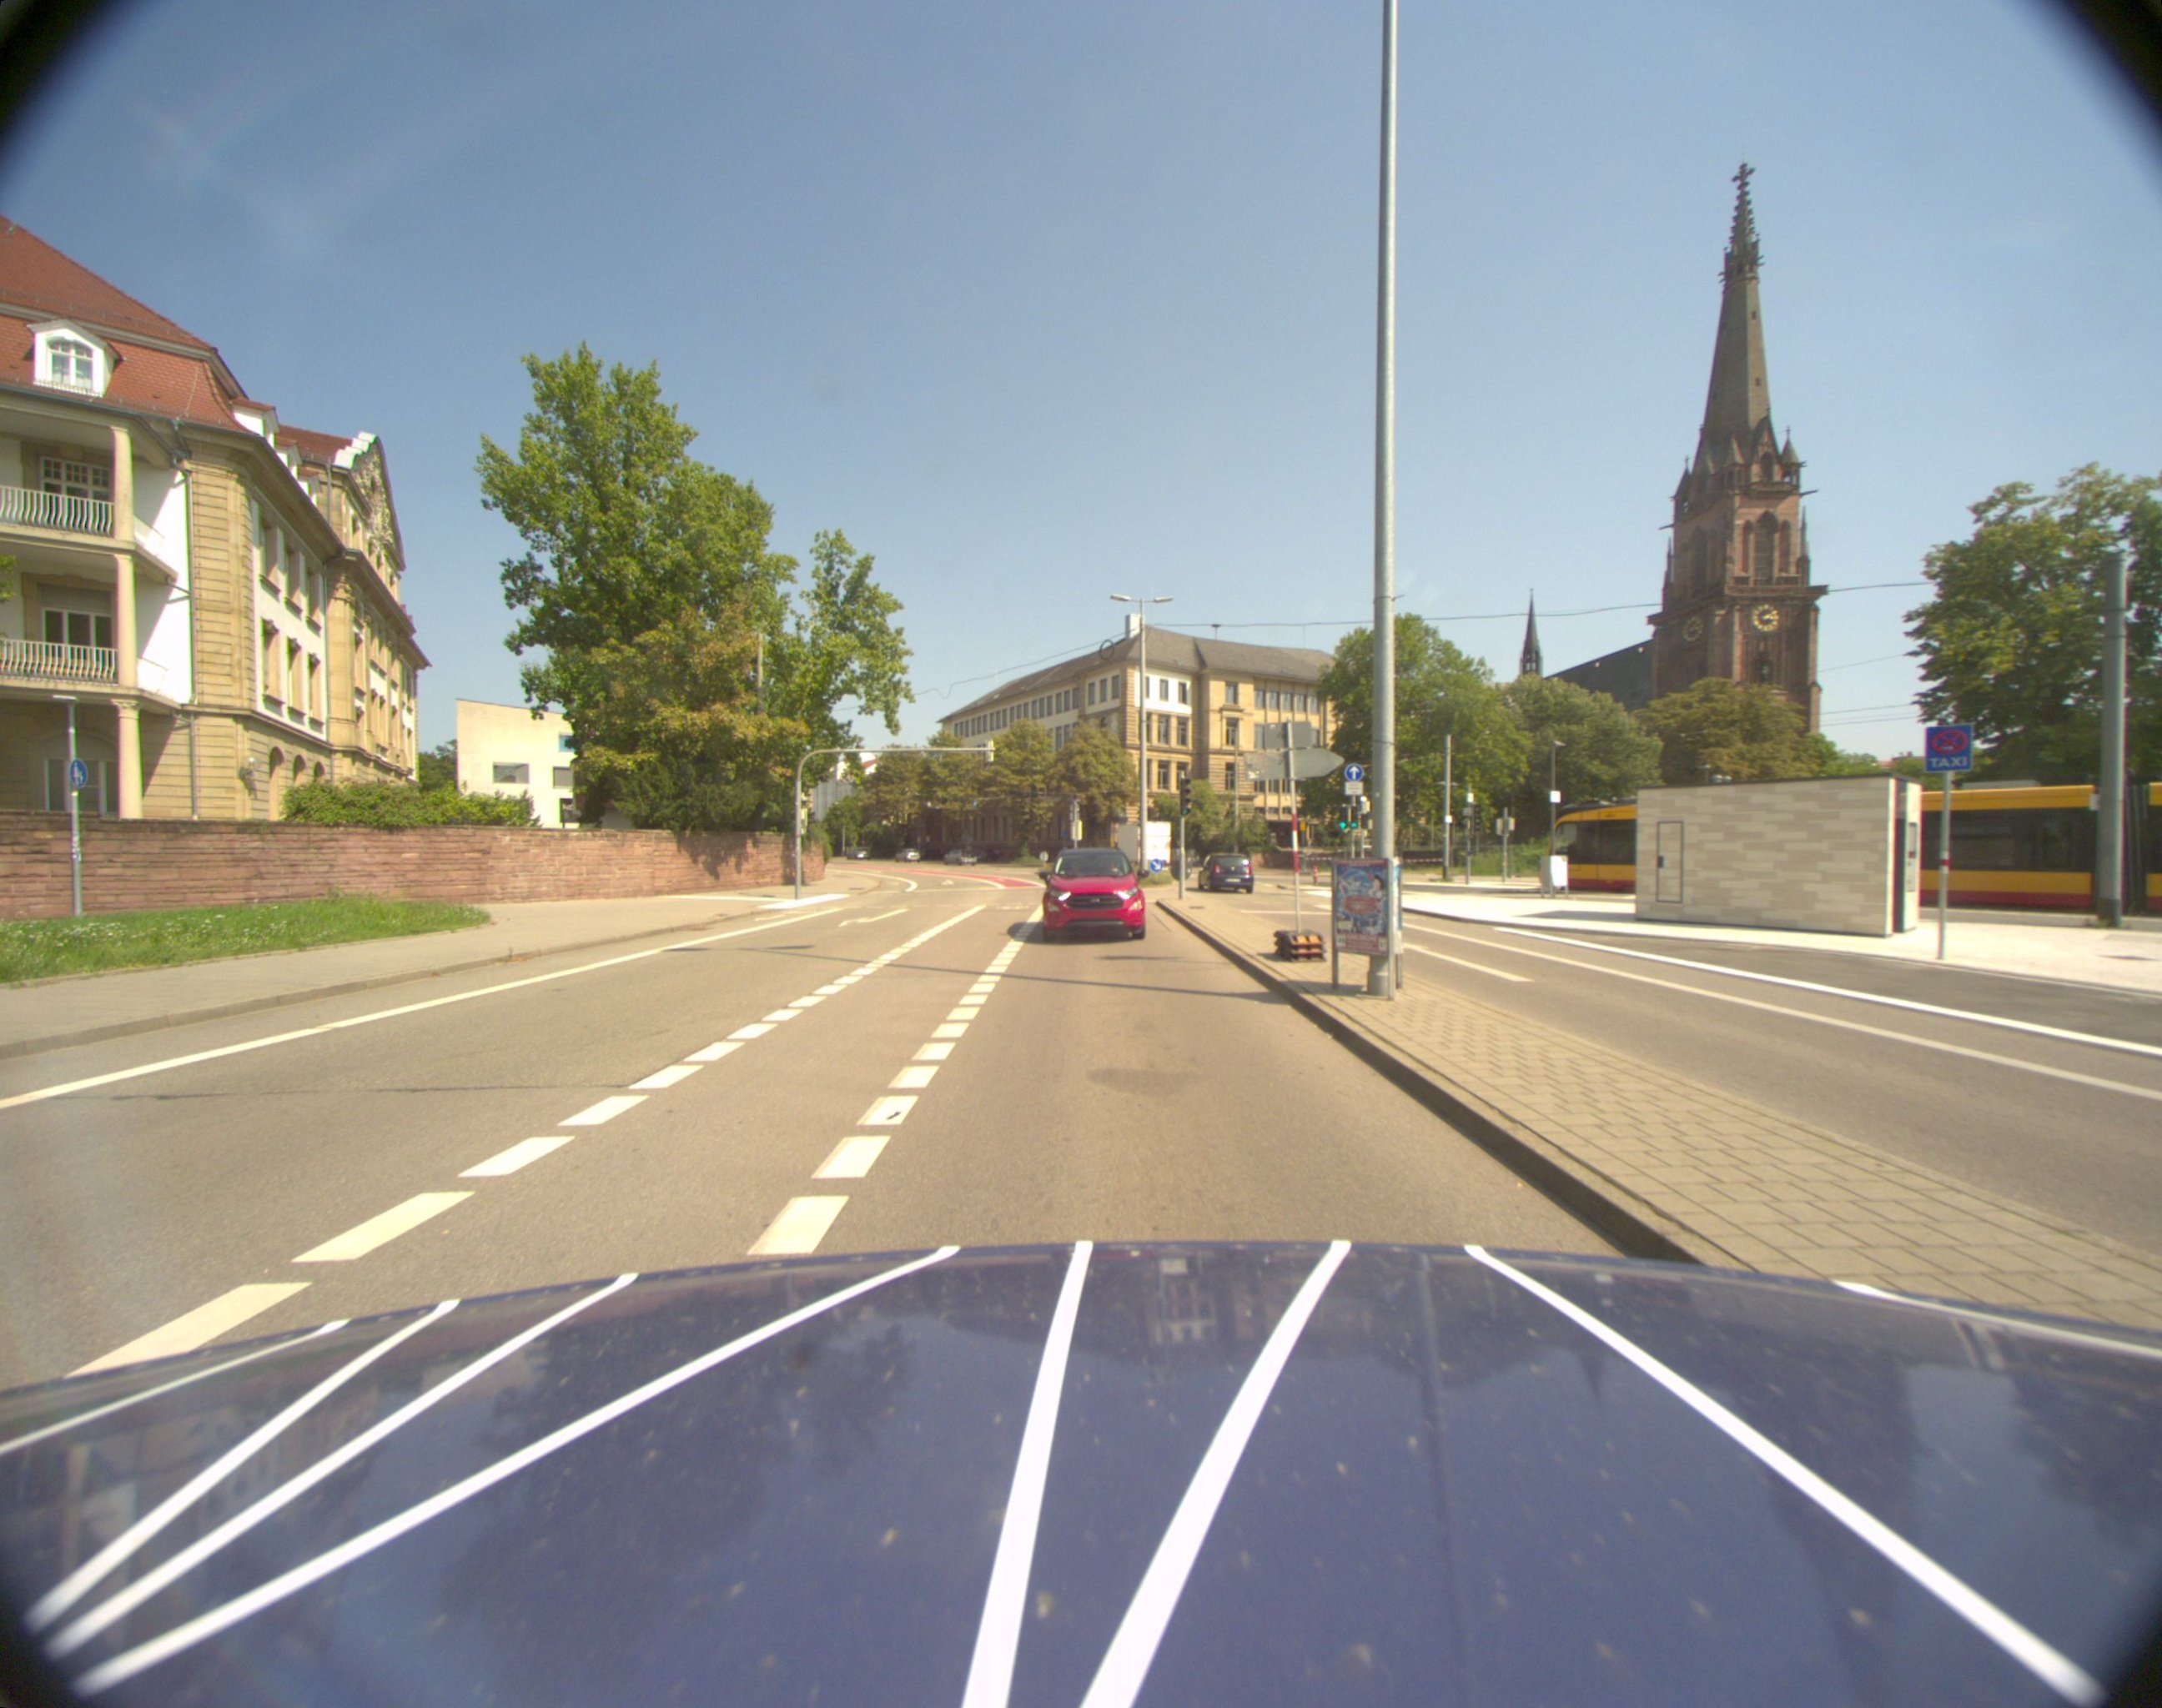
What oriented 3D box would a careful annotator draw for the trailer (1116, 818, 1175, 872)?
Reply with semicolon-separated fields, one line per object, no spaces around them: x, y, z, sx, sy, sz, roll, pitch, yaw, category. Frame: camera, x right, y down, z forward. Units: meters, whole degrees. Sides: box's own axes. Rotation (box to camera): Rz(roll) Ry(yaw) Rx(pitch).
4.035;-0.589;48.422;2.443;3.269;5.082;0;1;-11;trailer

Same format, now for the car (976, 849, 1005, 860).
-10.163;0.010;85.680;3.064;1.169;1.248;0;1;-39;car

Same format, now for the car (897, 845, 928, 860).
-18.630;-0.174;83.857;2.004;1.660;3.989;0;1;-33;car

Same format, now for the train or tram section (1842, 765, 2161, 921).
25.495;-0.243;19.124;3.168;3.576;8.503;0;0;-35;train or tram section

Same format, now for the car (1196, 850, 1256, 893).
5.430;0.622;28.840;1.584;1.489;3.585;2;1;1;car

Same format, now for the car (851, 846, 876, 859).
-27.961;-0.173;97.800;2.004;1.630;3.989;0;1;-33;car

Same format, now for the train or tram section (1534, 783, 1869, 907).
20.707;-0.232;26.038;3.144;3.539;8.306;1;0;-35;train or tram section

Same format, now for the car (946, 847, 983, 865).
-11.125;0.165;72.490;1.891;1.587;3.989;0;1;-34;car

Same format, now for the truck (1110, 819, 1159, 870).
3.529;-0.628;50.698;2.430;3.269;3.423;0;1;-11;truck

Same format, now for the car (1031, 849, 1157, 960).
0.208;0.746;13.482;1.844;1.605;3.999;-2;1;0;car
